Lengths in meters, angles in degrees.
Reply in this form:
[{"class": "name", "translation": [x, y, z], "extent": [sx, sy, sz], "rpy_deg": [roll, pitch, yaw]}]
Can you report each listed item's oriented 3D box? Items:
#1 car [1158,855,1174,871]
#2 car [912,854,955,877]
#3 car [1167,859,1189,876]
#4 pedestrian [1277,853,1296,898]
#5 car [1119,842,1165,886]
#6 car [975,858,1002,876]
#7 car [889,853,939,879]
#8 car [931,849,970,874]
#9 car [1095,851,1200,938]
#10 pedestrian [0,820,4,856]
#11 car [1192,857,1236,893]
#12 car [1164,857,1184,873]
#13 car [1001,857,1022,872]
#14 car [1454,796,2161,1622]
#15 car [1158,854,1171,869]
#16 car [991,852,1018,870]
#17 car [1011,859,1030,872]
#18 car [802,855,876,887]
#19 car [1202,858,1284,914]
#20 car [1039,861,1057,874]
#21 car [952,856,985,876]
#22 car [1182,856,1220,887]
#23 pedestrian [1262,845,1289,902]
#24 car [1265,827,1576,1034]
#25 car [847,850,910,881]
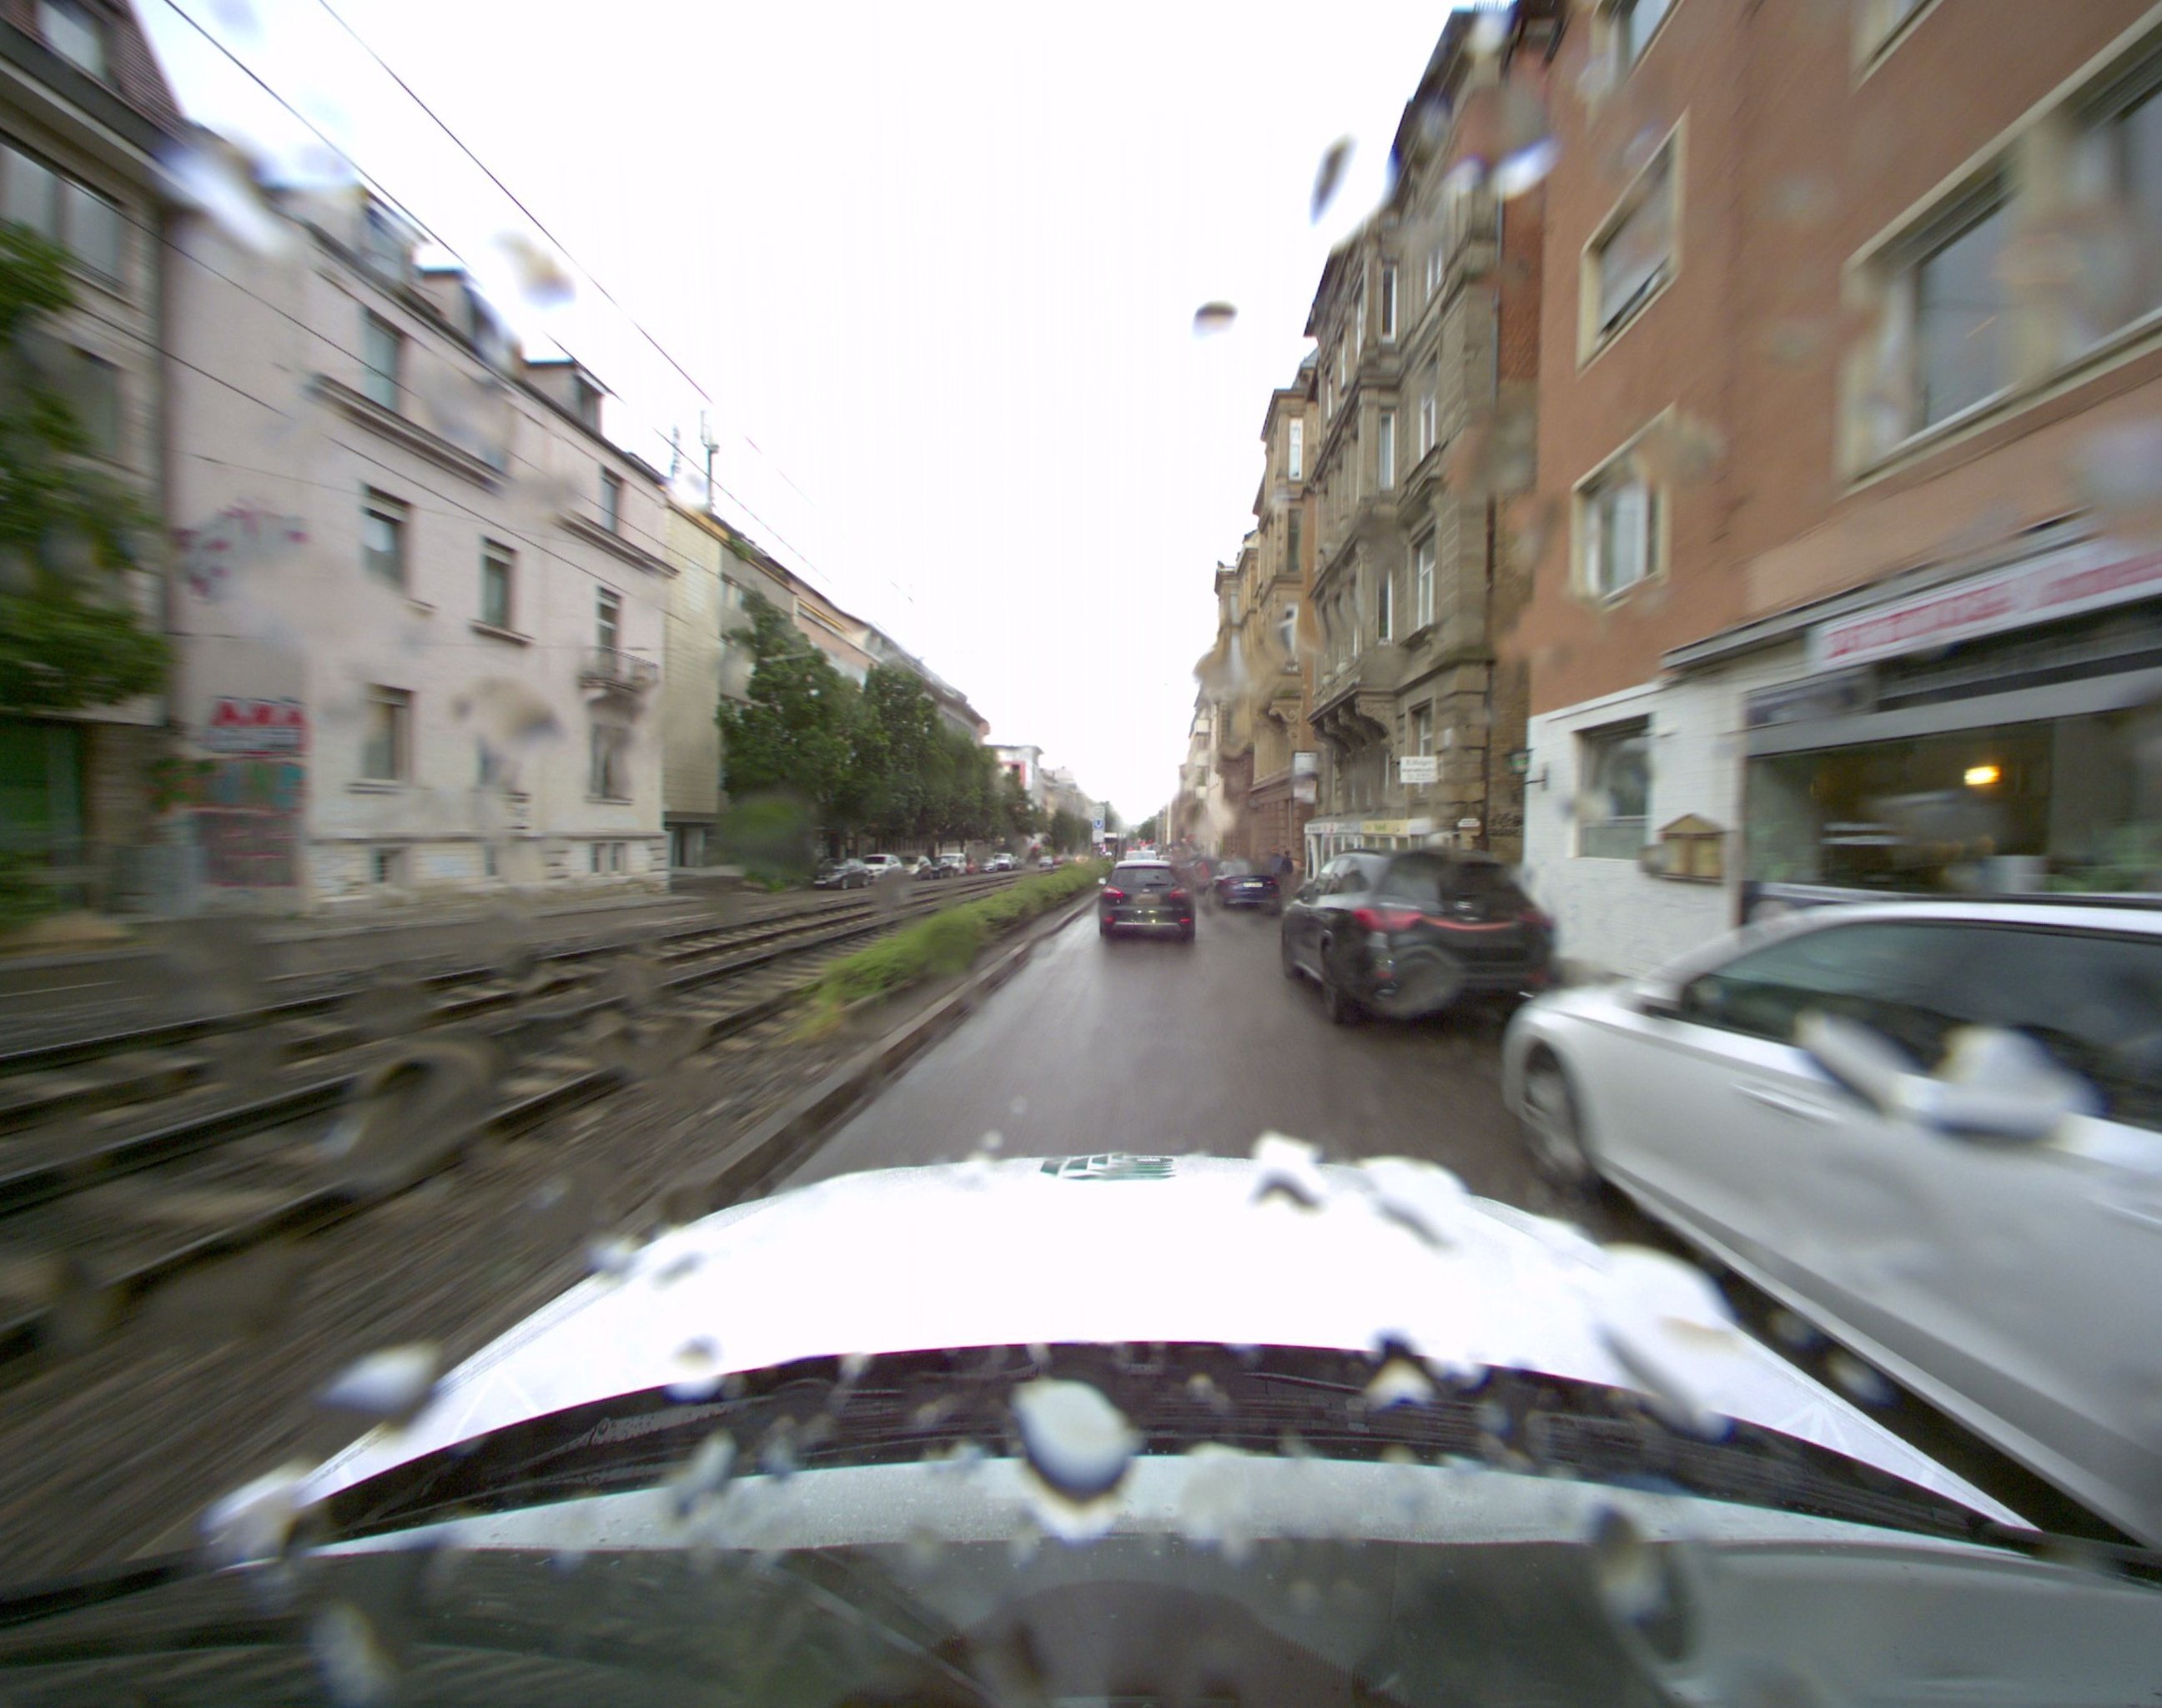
[{"class": "car", "translation": [10.514, 1.152, 101.168], "extent": [1.830, 1.781, 3.783], "rpy_deg": [3, -2, 5]}, {"class": "car", "translation": [-10.075, 0.820, 55.917], "extent": [1.847, 1.418, 4.436], "rpy_deg": [-1, -2, 5]}, {"class": "car", "translation": [8.130, 1.136, 68.595], "extent": [1.663, 1.421, 3.480], "rpy_deg": [0, -1, 4]}, {"class": "pedestrian", "translation": [7.277, 0.762, 28.855], "extent": [0.517, 1.579, 0.678], "rpy_deg": [-2, -3, 4]}, {"class": "car", "translation": [3.125, 0.479, 40.963], "extent": [1.977, 2.060, 4.655], "rpy_deg": [1, 0, 8]}, {"class": "car", "translation": [-8.488, 1.233, 75.001], "extent": [1.660, 1.558, 4.050], "rpy_deg": [2, -2, 5]}, {"class": "car", "translation": [-10.382, 0.787, 51.021], "extent": [1.847, 1.549, 4.436], "rpy_deg": [2, -2, 5]}, {"class": "car", "translation": [-9.831, 0.590, 61.767], "extent": [1.847, 1.701, 4.436], "rpy_deg": [2, -2, 5]}, {"class": "car", "translation": [1.251, 0.748, 16.219], "extent": [1.835, 1.507, 4.002], "rpy_deg": [0, -1, 2]}, {"class": "pedestrian", "translation": [-18.007, 0.249, 13.078], "extent": [0.467, 1.652, 0.580], "rpy_deg": [4, -2, -8]}, {"class": "car", "translation": [5.721, 0.885, 35.302], "extent": [1.642, 1.460, 3.480], "rpy_deg": [0, -1, 5]}, {"class": "car", "translation": [8.561, 0.986, 75.155], "extent": [1.663, 1.421, 3.480], "rpy_deg": [0, -1, 4]}, {"class": "car", "translation": [-7.744, 1.186, 90.865], "extent": [1.687, 1.574, 4.050], "rpy_deg": [2, -2, 5]}, {"class": "car", "translation": [2.888, 0.655, 2.406], "extent": [1.793, 1.456, 4.592], "rpy_deg": [0, -2, 5]}, {"class": "car", "translation": [10.976, 1.012, 107.120], "extent": [1.584, 1.781, 3.783], "rpy_deg": [3, -2, 5]}, {"class": "car", "translation": [-7.882, 0.751, 84.341], "extent": [1.847, 1.637, 4.941], "rpy_deg": [2, -2, 5]}, {"class": "car", "translation": [-7.139, 1.388, 96.603], "extent": [1.543, 1.395, 4.050], "rpy_deg": [2, -2, 5]}, {"class": "car", "translation": [-11.376, 0.833, 38.577], "extent": [1.686, 1.378, 4.726], "rpy_deg": [2, -2, 5]}, {"class": "car", "translation": [4.503, 0.879, 23.172], "extent": [1.783, 1.407, 4.262], "rpy_deg": [1, -2, 5]}, {"class": "car", "translation": [-4.485, 1.900, 110.442], "extent": [1.847, 1.637, 4.050], "rpy_deg": [2, -2, 5]}, {"class": "car", "translation": [-9.359, 1.043, 67.942], "extent": [1.847, 1.527, 4.050], "rpy_deg": [2, -2, 5]}, {"class": "car", "translation": [5.994, 0.860, 40.891], "extent": [1.570, 1.460, 3.824], "rpy_deg": [0, -1, 3]}, {"class": "pedestrian", "translation": [6.406, 0.634, 26.843], "extent": [0.700, 1.819, 0.962], "rpy_deg": [-2, 0, 4]}, {"class": "car", "translation": [3.283, 0.679, 8.933], "extent": [1.836, 1.632, 4.592], "rpy_deg": [1, -2, 5]}, {"class": "car", "translation": [-11.018, 0.685, 44.707], "extent": [1.847, 1.549, 4.726], "rpy_deg": [2, -2, 5]}]
